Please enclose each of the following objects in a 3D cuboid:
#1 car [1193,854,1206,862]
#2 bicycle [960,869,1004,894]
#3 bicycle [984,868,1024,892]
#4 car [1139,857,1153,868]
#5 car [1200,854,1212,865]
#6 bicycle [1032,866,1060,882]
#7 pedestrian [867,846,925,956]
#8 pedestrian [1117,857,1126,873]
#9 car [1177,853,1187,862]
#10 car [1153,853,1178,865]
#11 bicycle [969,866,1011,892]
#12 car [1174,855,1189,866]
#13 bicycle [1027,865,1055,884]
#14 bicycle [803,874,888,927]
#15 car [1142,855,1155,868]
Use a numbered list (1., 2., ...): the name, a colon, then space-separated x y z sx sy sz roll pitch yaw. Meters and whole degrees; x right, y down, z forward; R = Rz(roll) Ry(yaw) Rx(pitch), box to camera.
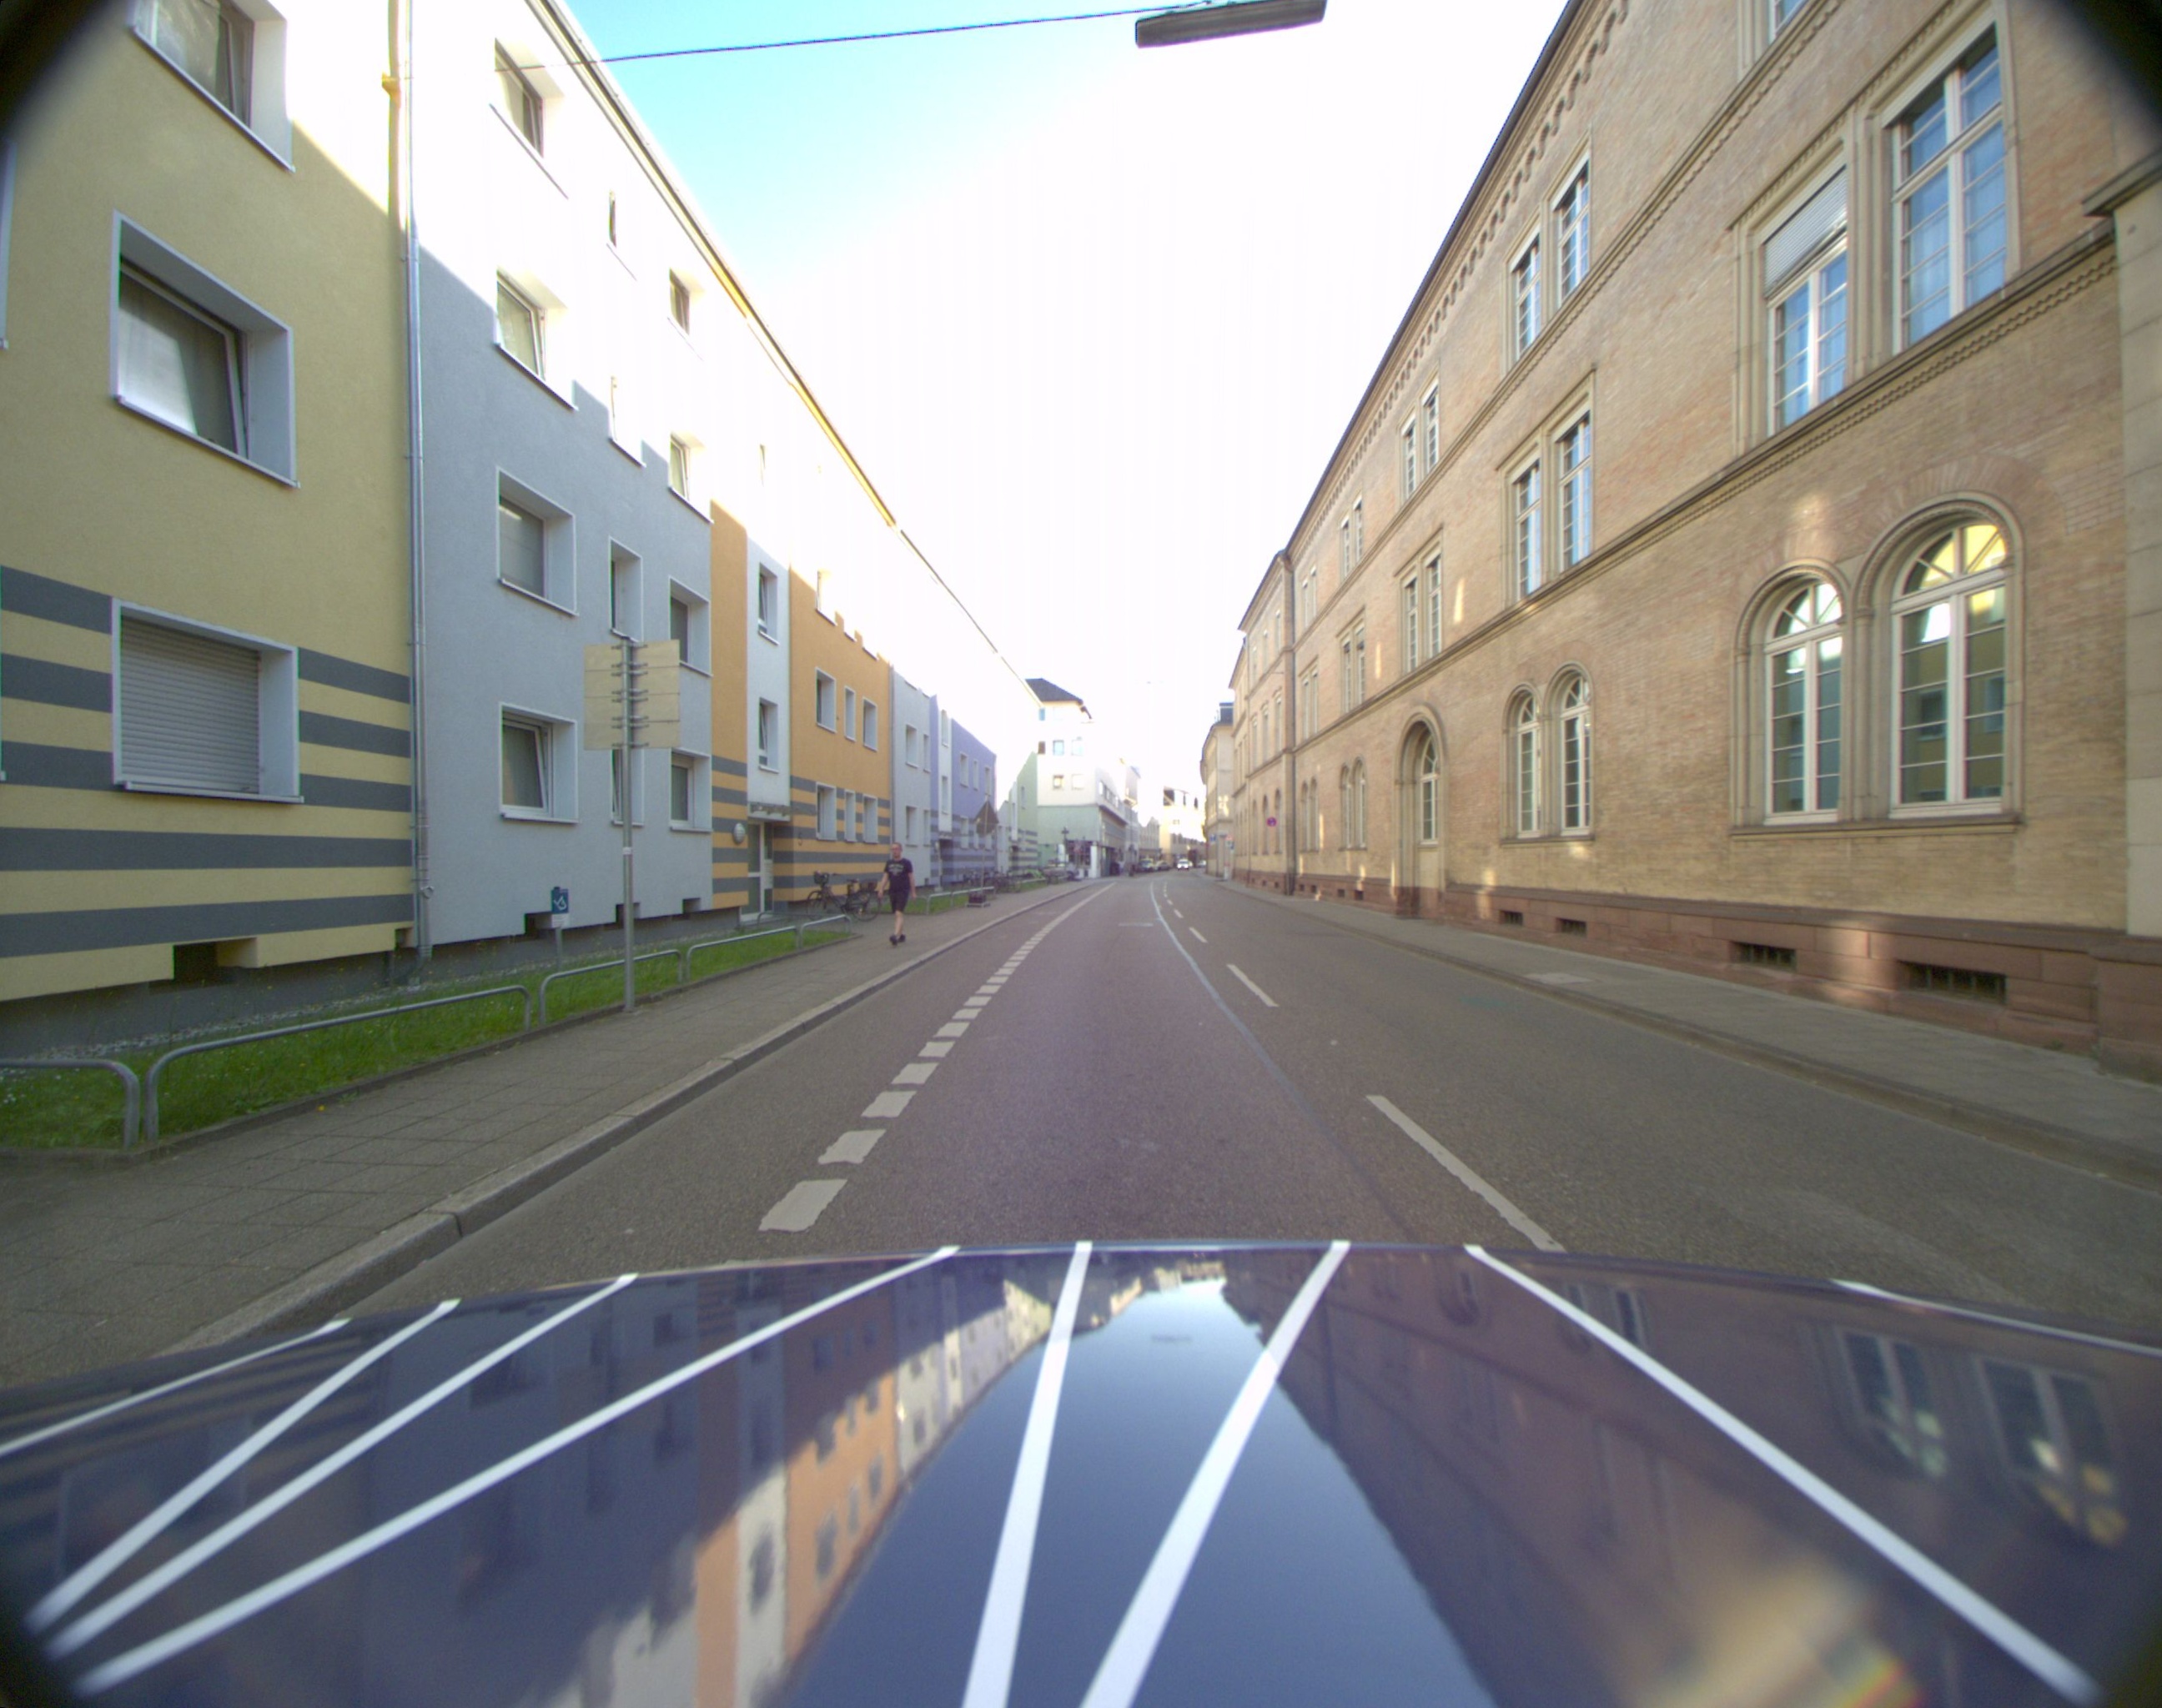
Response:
1. car: 25.509 0.861 163.515 1.925 1.714 4.236 0 0 19
2. bicycle: -4.152 1.145 31.861 1.710 1.039 0.636 1 0 2
3. bicycle: -3.389 1.130 33.698 1.711 1.029 0.636 1 0 -2
4. car: 8.637 1.145 100.775 1.634 1.405 3.687 0 0 8
5. car: 19.848 0.843 120.413 1.662 1.714 3.743 0 0 14
6. bicycle: -2.173 1.272 47.583 1.711 0.972 0.516 1 0 -2
7. pedestrian: -3.141 0.773 12.964 0.646 1.778 0.916 3 1 4
8. pedestrian: 3.883 1.064 73.225 0.707 1.510 0.662 -1 0 13
9. car: 19.892 0.668 149.541 1.534 1.714 3.743 0 0 16
10. car: 12.823 0.787 115.319 3.747 1.714 1.858 0 0 -44
11. bicycle: -3.950 1.093 33.003 1.710 1.075 0.636 1 0 1
12. car: 16.559 1.028 125.097 1.921 1.712 4.966 0 0 14
13. bicycle: -2.422 1.249 46.123 1.711 1.097 0.584 1 0 -2
14. bicycle: -5.290 1.035 17.108 1.711 1.152 0.636 1 0 -2
15. car: 9.464 1.074 106.050 1.535 1.714 3.741 0 0 8
